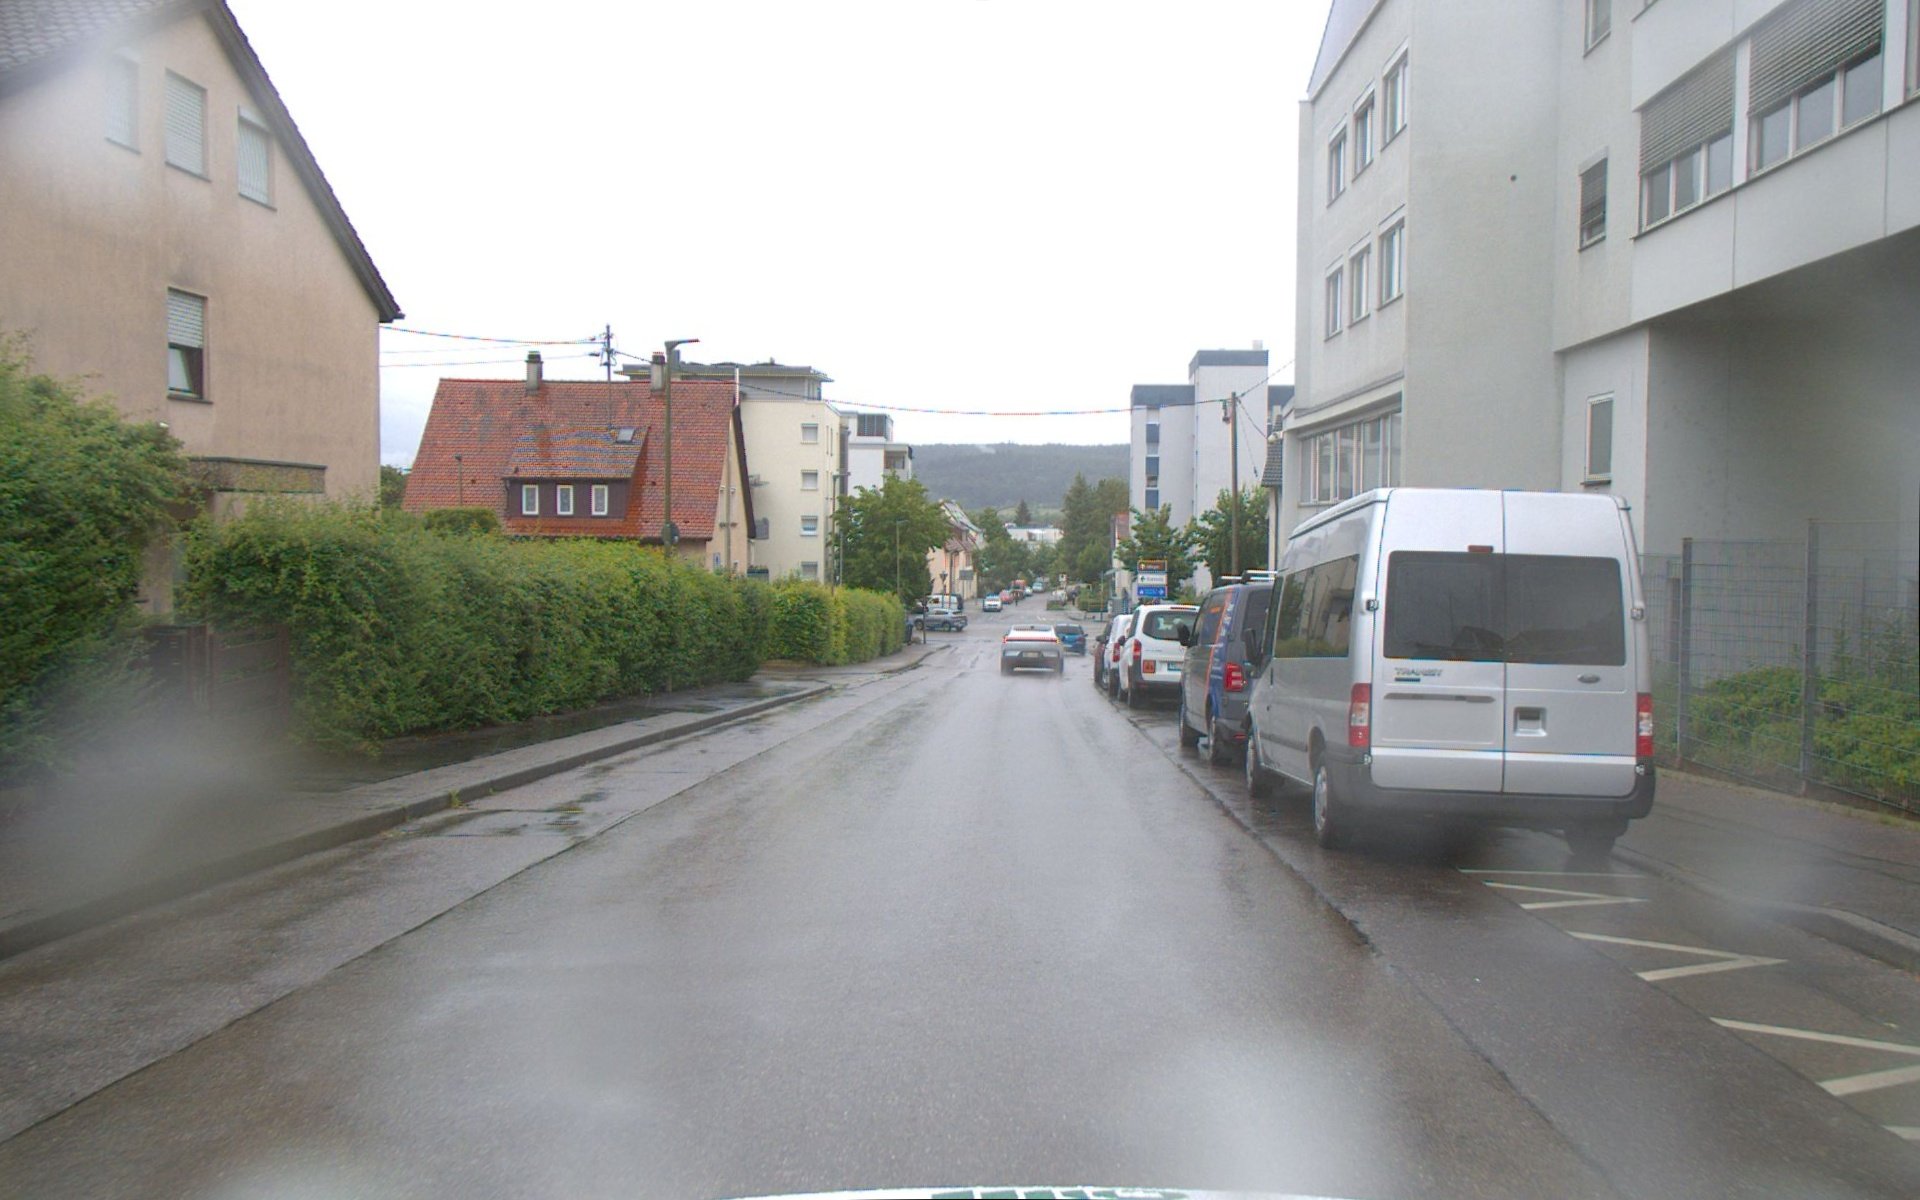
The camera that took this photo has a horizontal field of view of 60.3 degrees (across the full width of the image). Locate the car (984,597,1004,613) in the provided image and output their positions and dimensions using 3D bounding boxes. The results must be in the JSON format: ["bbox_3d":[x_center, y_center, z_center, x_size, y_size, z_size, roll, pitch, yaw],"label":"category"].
[{"bbox_3d":[3.617,0.528,175.052,1.952,1.654,4.194,-1,1,3],"label":"car"}]

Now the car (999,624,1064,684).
[{"bbox_3d":[2.247,1.692,52.921,1.952,1.713,4.001,-1,1,1],"label":"car"}]

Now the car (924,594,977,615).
[{"bbox_3d":[-0.875,0.426,155.941,4.789,1.867,1.975,-1,1,-36],"label":"car"}]

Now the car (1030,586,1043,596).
[{"bbox_3d":[12.087,-1.420,261.494,1.861,1.586,4.194,-1,1,3],"label":"car"}]

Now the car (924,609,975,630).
[{"bbox_3d":[-0.838,1.517,129.703,1.873,1.552,3.942,-1,1,-40],"label":"car"}]

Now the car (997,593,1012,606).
[{"bbox_3d":[5.706,-0.056,211.473,1.861,1.586,4.194,-1,1,3],"label":"car"}]

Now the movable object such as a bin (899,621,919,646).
[{"bbox_3d":[-2.932,1.919,94.820,1.049,1.371,1.319,2,-1,1],"label":"movable object such as a bin"}]

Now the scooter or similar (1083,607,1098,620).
[{"bbox_3d":[11.469,1.147,145.292,1.242,1.100,0.876,-1,0,-2],"label":"scooter or similar"}]

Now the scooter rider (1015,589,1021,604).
[{"bbox_3d":[7.089,-0.444,201.526,0.736,1.827,0.673,-1,0,3],"label":"scooter rider"}]

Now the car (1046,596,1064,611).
[{"bbox_3d":[10.836,0.401,188.666,2.101,1.617,4.130,-1,1,3],"label":"car"}]

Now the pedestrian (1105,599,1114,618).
[{"bbox_3d":[13.233,0.770,146.340,0.634,1.676,0.526,3,0,-3],"label":"pedestrian"}]

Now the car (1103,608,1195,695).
[{"bbox_3d":[4.293,1.145,38.141,1.839,1.866,4.490,0,-1,3],"label":"car"}]

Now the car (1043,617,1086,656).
[{"bbox_3d":[5.125,1.771,81.572,1.952,1.713,4.001,-1,1,1],"label":"car"}]

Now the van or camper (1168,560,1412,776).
[{"bbox_3d":[3.629,0.696,19.160,1.952,2.150,5.204,-1,0,2],"label":"van or camper"}]

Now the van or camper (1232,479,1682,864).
[{"bbox_3d":[3.410,0.446,12.603,1.952,2.282,5.442,-1,0,2],"label":"van or camper"}]

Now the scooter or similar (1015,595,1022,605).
[{"bbox_3d":[7.113,-0.050,201.620,0.741,1.192,1.315,-1,1,4],"label":"scooter or similar"}]

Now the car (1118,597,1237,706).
[{"bbox_3d":[4.178,0.962,32.469,1.952,1.969,4.977,0,-1,3],"label":"car"}]
